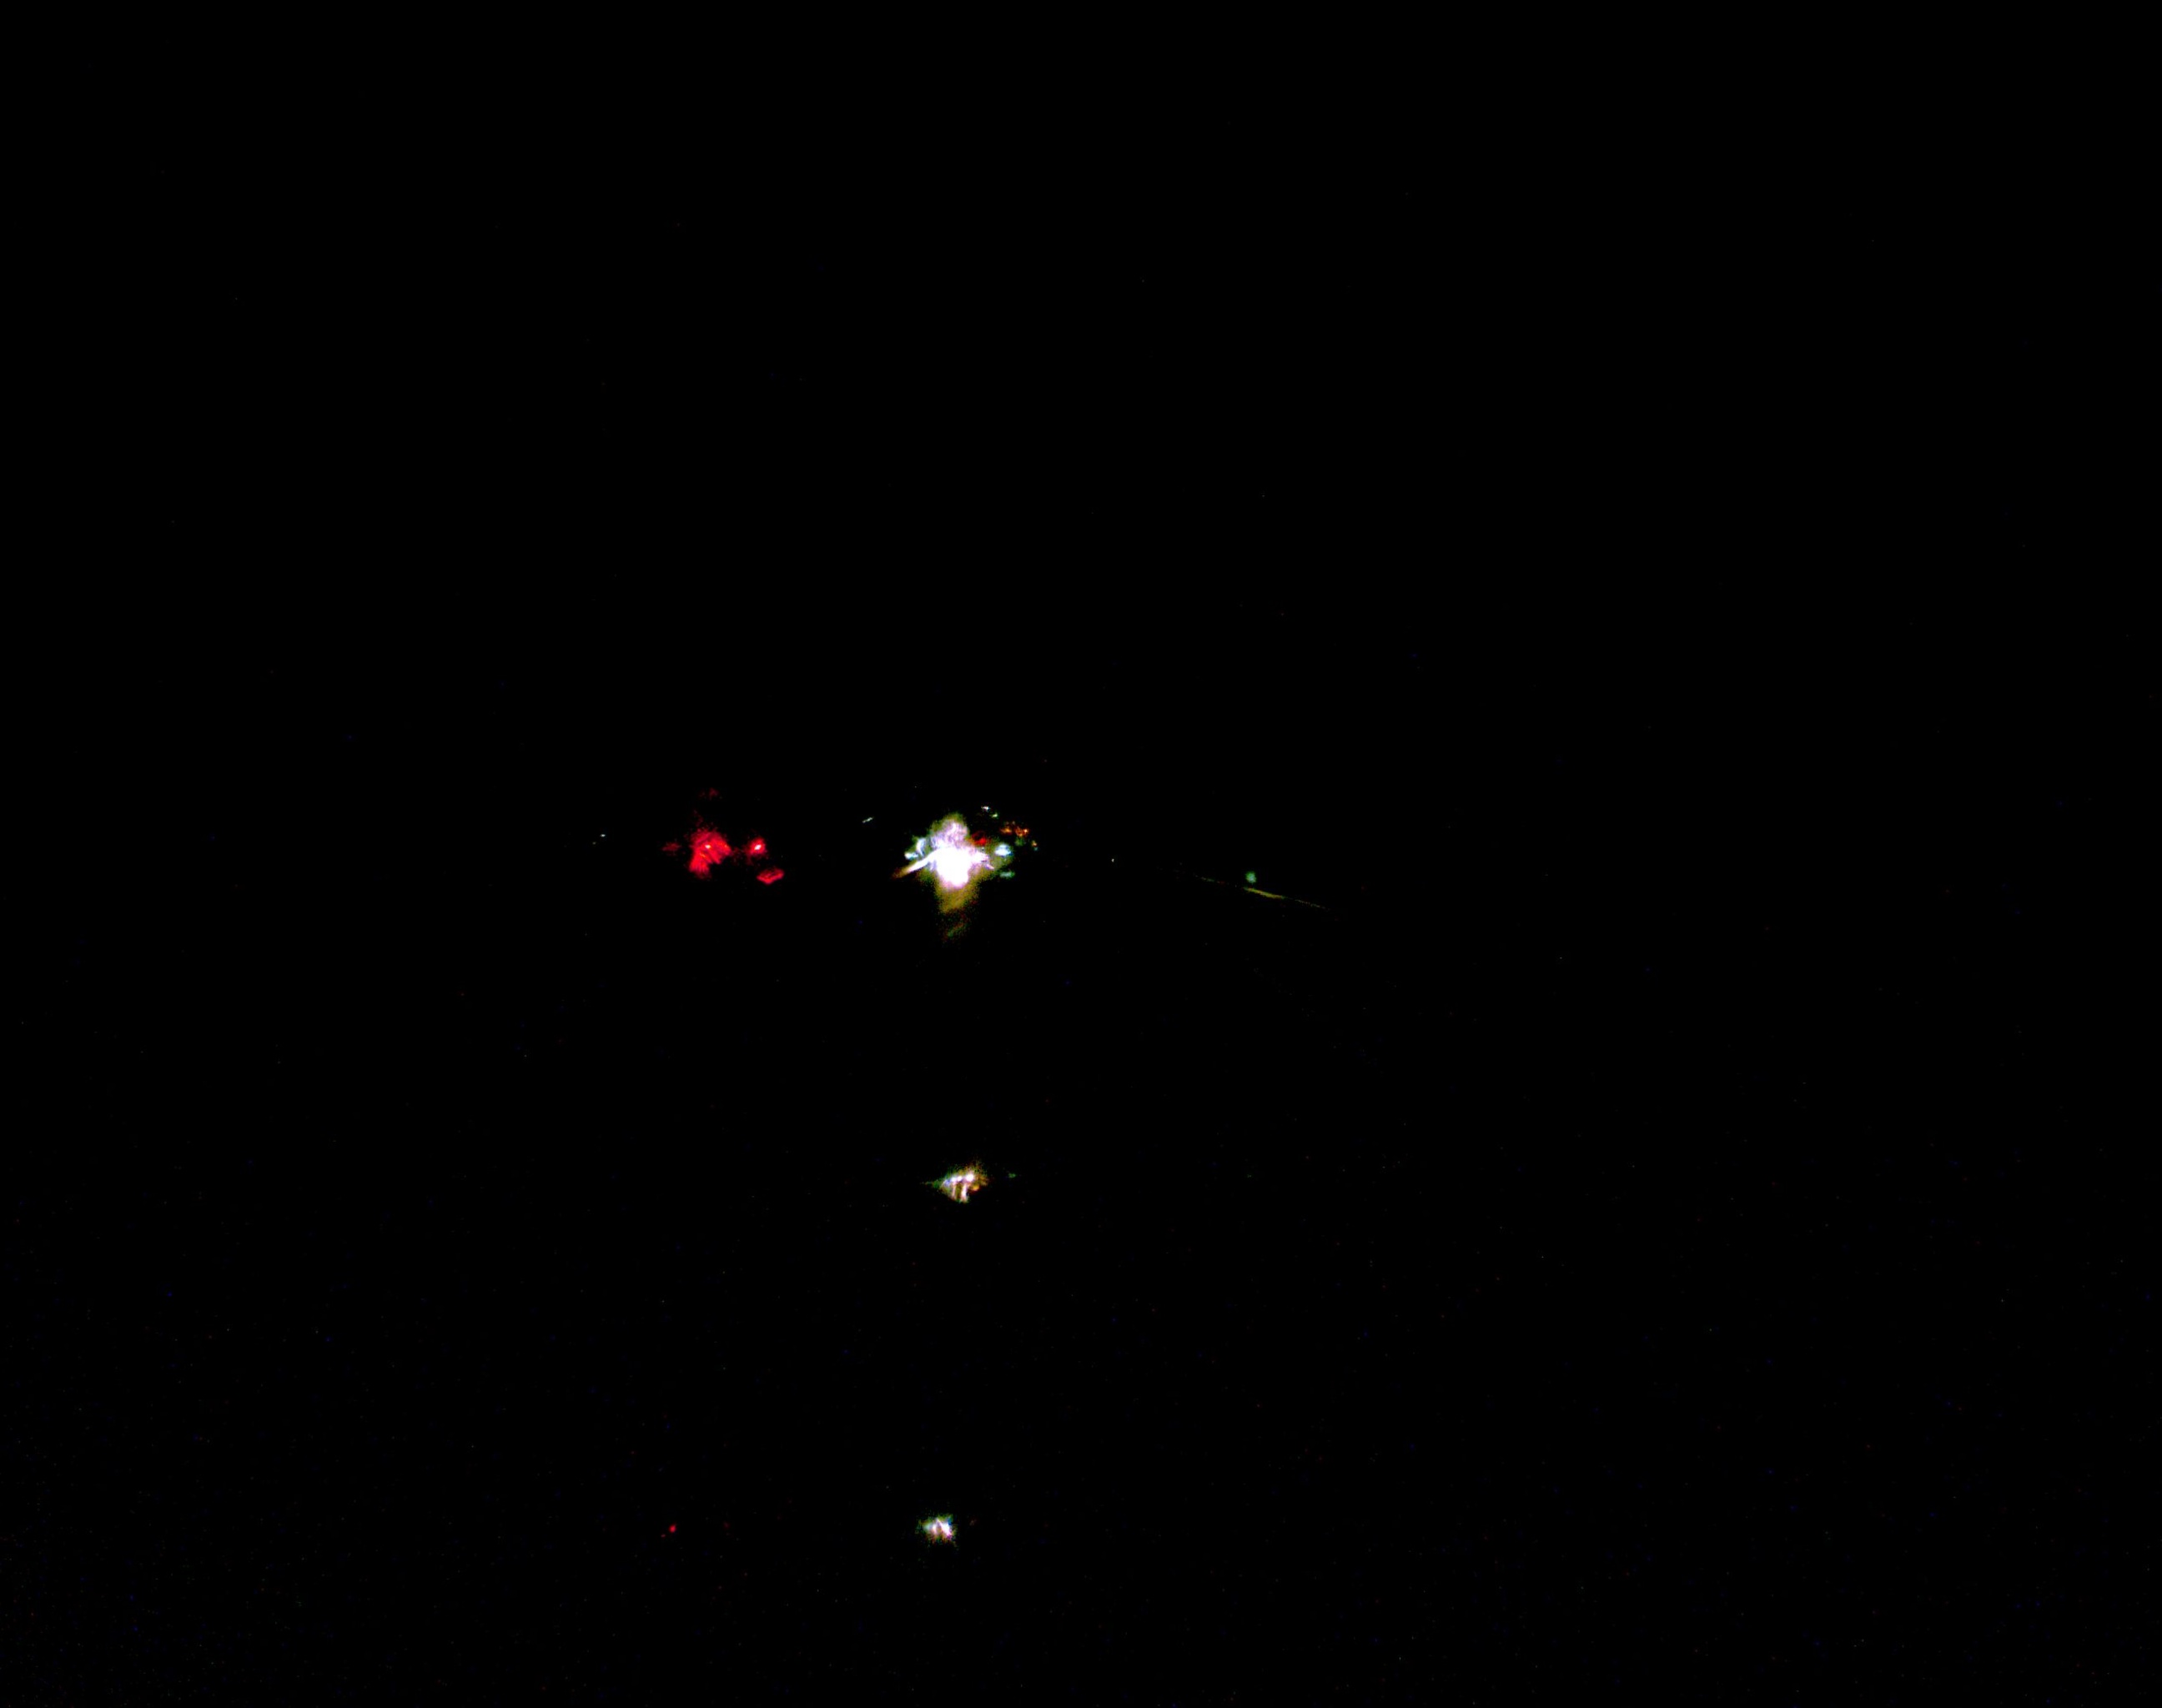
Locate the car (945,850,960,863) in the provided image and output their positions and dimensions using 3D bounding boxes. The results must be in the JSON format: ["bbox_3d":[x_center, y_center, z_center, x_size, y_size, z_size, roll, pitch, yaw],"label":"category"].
[{"bbox_3d":[-16.603,0.310,105.540,1.880,1.600,3.888,-1,0,-9],"label":"car"}]
